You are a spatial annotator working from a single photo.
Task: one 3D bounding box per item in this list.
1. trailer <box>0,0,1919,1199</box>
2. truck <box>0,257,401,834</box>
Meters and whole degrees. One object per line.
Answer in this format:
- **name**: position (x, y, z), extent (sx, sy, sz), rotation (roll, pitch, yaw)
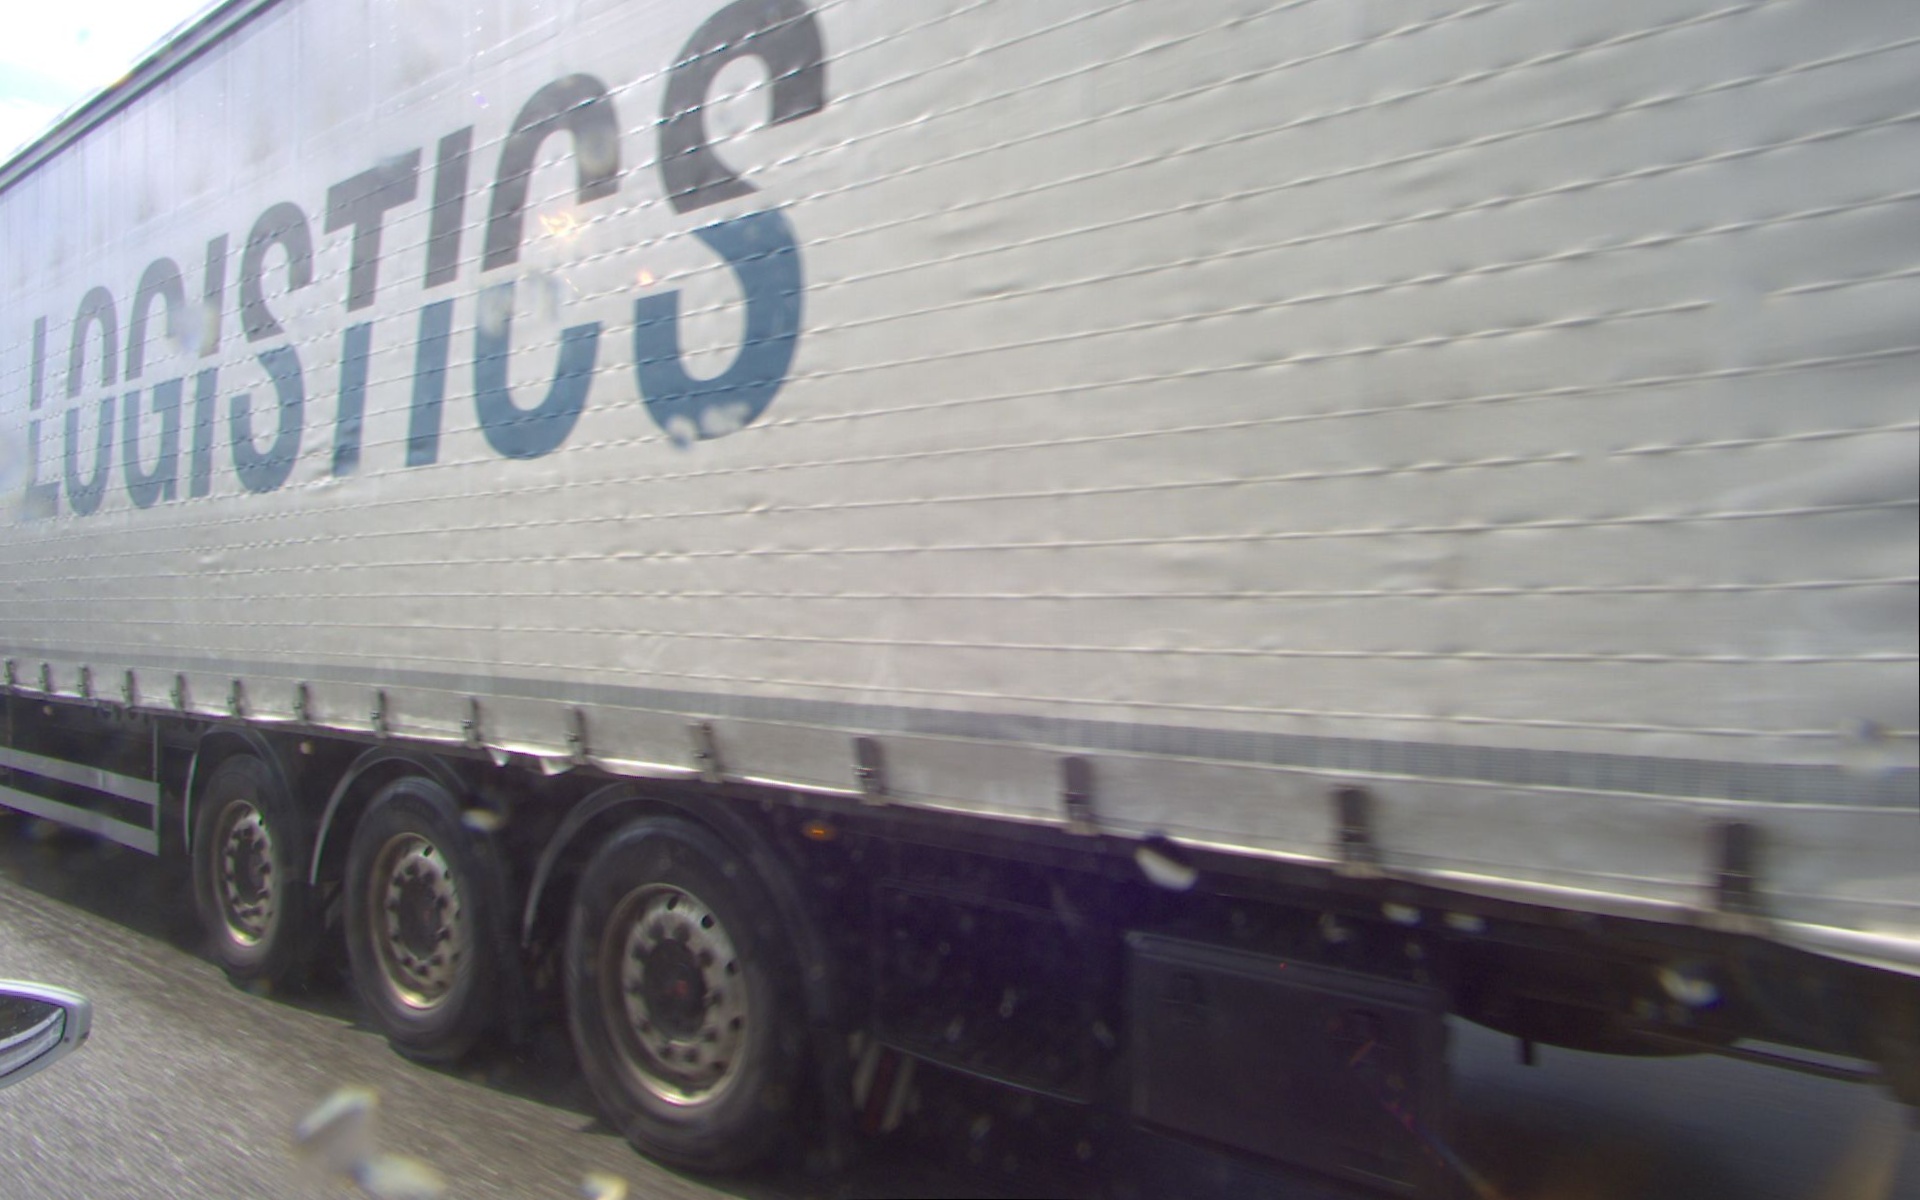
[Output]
- **trailer**: position (-3.175, -0.372, 5.951), extent (13.927, 3.948, 3.278), rotation (-1, -2, 33)
- **truck**: position (-8.650, -0.300, 9.454), extent (6.305, 3.940, 3.279), rotation (-1, -2, 32)
